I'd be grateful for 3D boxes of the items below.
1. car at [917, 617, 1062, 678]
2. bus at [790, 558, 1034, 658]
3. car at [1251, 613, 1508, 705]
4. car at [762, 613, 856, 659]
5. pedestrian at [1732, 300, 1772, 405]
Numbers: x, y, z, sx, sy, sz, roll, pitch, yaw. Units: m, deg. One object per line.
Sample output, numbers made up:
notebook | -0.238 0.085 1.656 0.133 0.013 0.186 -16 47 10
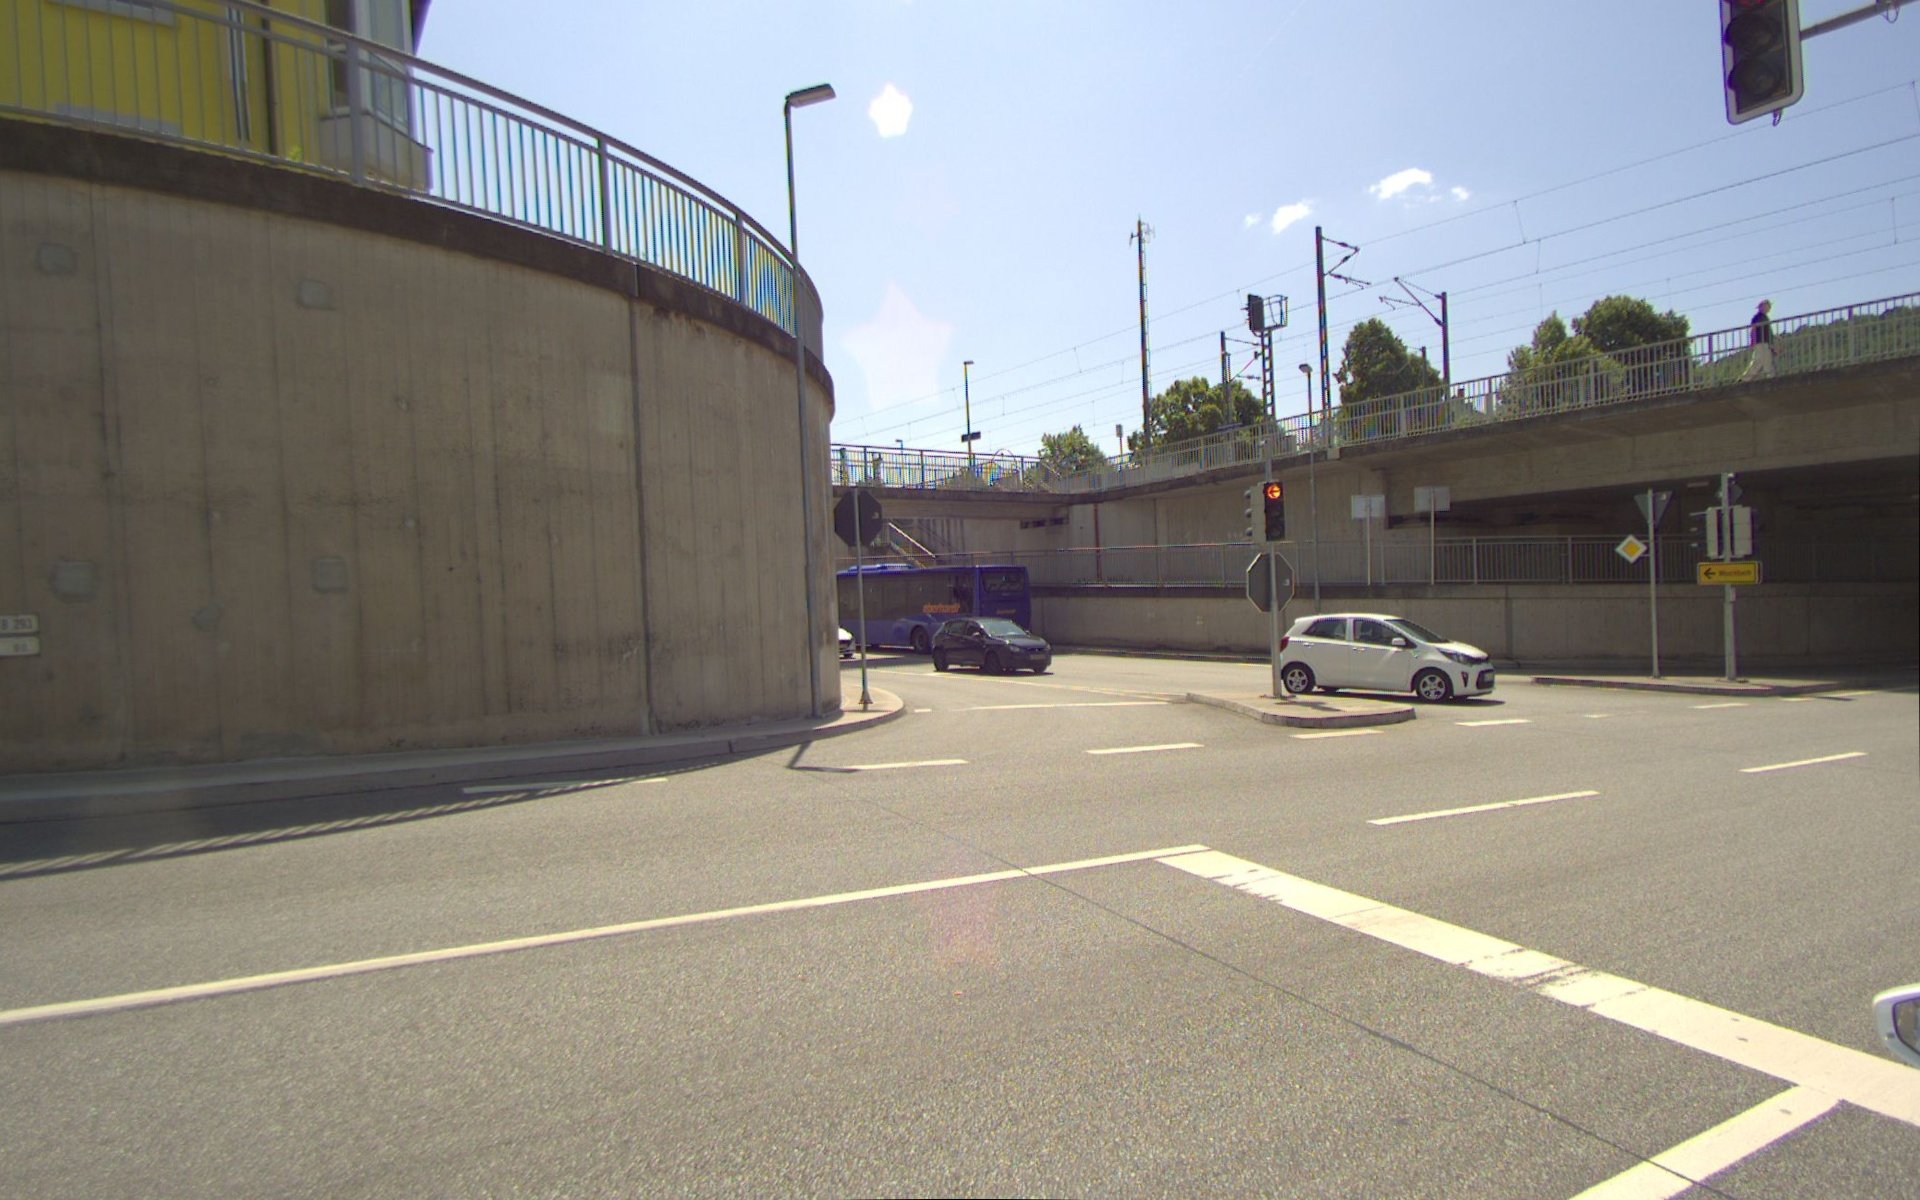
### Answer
car | 0.713 1.202 26.594 1.751 1.393 3.958 -2 1 -37
bus | -2.302 0.270 38.093 2.566 3.215 12.239 -2 1 -38
car | 7.510 0.978 18.212 3.946 1.439 1.720 -1 1 45
car | -5.379 1.220 35.551 1.711 1.451 3.871 -2 1 -36
pedestrian | 17.439 -5.432 22.123 0.531 2.108 0.571 1 -1 -40
